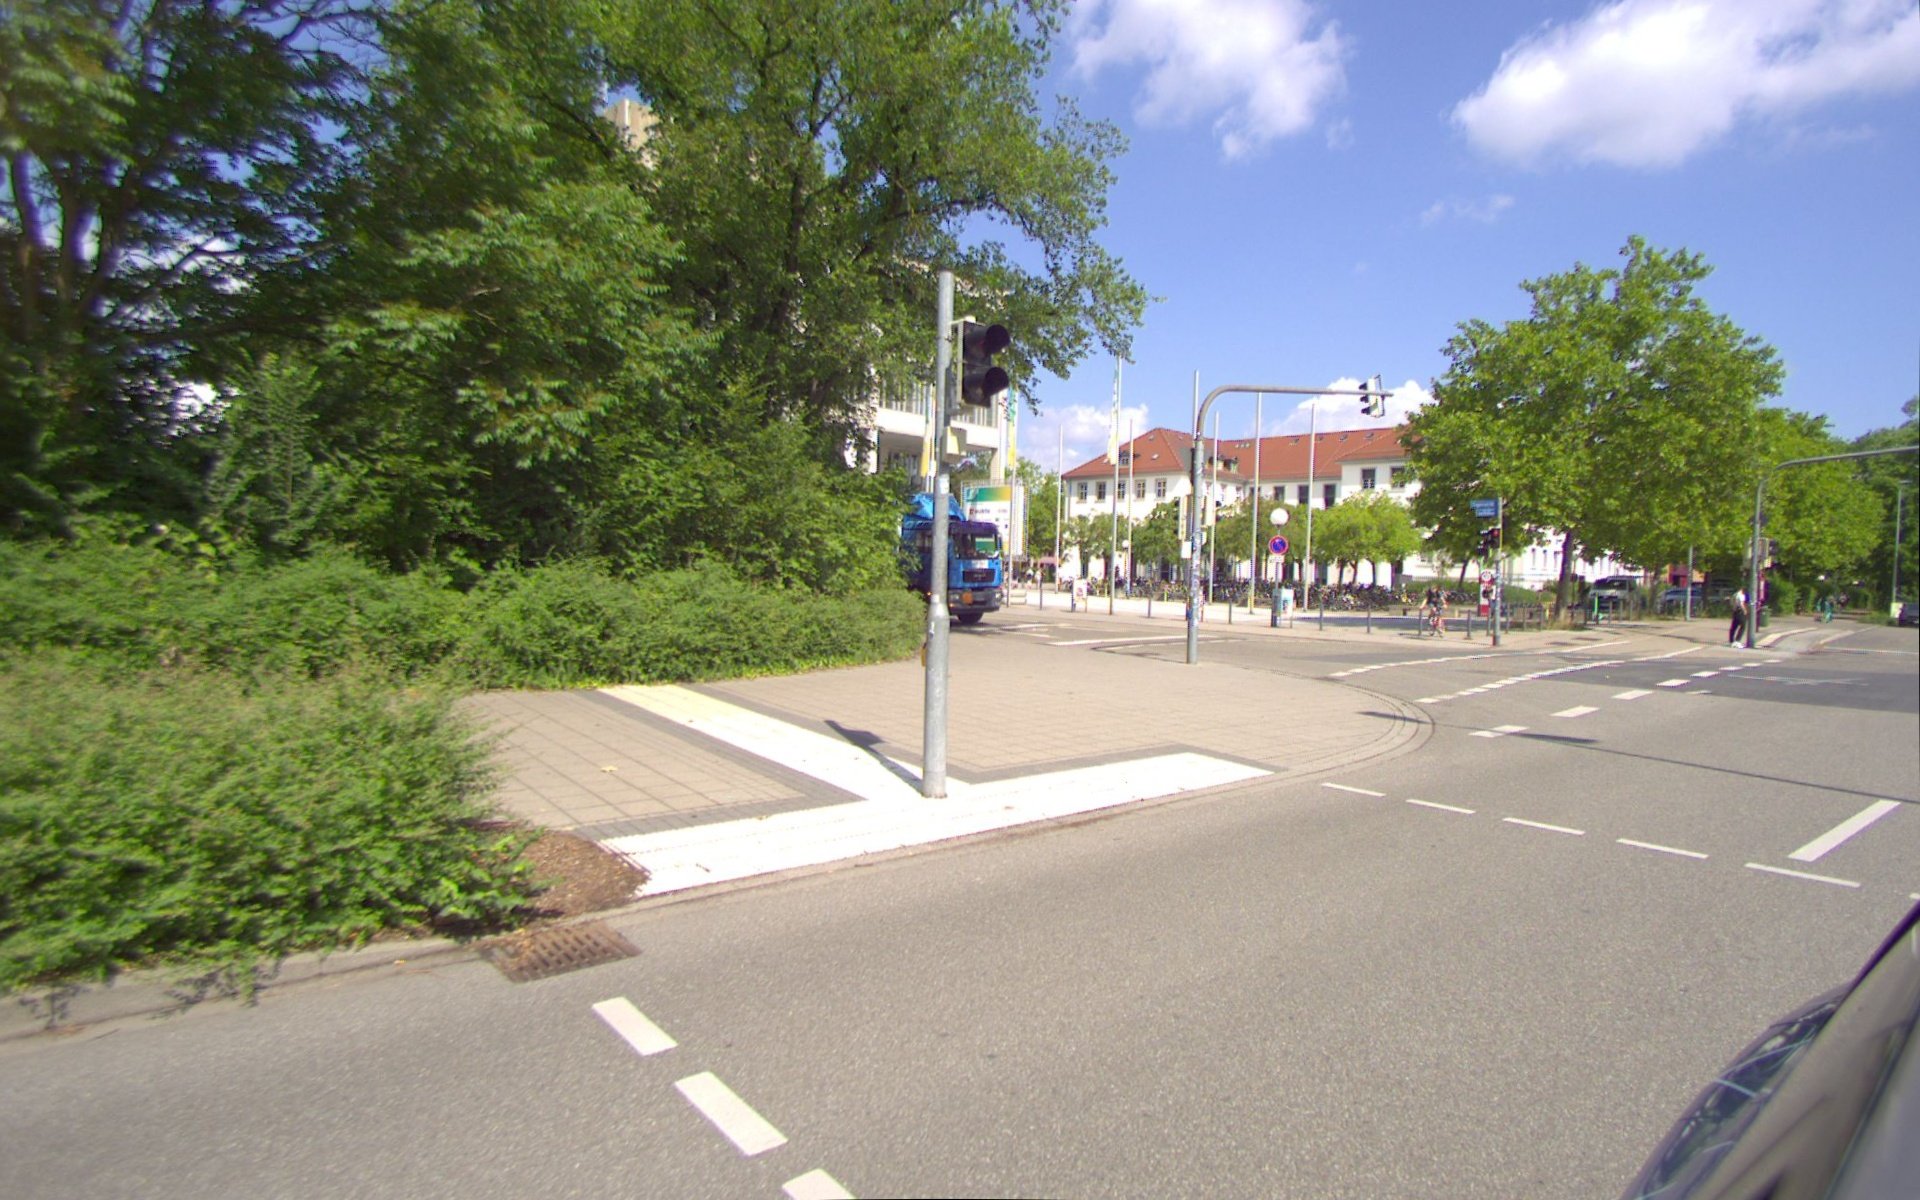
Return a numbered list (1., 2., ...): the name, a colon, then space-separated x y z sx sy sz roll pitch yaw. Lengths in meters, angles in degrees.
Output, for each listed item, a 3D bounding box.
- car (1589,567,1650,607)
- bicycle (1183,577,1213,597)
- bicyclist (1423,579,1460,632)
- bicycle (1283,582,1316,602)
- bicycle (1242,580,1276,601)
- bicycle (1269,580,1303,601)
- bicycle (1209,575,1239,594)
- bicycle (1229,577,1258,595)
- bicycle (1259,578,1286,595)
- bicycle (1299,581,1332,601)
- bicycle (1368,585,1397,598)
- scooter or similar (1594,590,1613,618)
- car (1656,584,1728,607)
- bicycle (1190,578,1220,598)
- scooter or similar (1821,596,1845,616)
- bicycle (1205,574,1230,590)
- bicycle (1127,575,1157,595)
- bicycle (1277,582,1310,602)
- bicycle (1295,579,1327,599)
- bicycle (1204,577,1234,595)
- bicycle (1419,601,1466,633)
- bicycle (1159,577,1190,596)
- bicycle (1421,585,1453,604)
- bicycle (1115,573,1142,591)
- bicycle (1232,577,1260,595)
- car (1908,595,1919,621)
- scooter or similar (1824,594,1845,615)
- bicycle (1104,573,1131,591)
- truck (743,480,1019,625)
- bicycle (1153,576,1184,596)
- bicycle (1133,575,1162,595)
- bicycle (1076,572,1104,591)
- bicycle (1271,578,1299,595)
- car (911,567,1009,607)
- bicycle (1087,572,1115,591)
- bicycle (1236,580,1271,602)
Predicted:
1. car: 35.960 -0.692 55.117 1.993 2.038 4.827 3 2 43
2. bicycle: 14.354 -0.793 61.133 1.667 1.110 0.617 3 2 42
3. bicyclist: 14.170 0.147 29.814 0.601 1.526 0.919 1 1 -1
4. bicycle: 19.366 -0.456 57.776 1.667 1.110 0.617 3 2 42
5. bicycle: 16.316 -0.539 55.323 1.667 1.110 0.617 3 2 42
6. bicycle: 18.184 -0.554 56.518 1.667 1.110 0.617 3 2 42
7. bicycle: 16.601 -0.987 63.641 1.667 1.110 0.617 3 2 42
8. bicycle: 18.456 -0.919 65.868 1.667 1.110 0.617 3 2 42
9. bicycle: 21.293 -0.943 68.949 1.667 1.110 0.617 3 2 42
10. bicycle: 20.959 -0.526 59.699 1.667 1.110 0.617 3 2 42
11. bicycle: 28.016 -0.544 67.155 1.667 0.800 0.617 3 2 42
12. scooter or similar: 26.358 0.156 41.461 1.148 1.142 0.347 0 1 -42
13. car: 51.544 -0.354 71.270 3.981 1.442 1.733 3 2 39
14. bicycle: 14.947 -0.733 61.639 1.667 1.110 0.617 3 2 42
15. scooter or similar: 48.653 0.326 56.411 1.342 1.084 0.519 1 1 -28
16. bicycle: 18.854 -1.329 74.042 1.667 1.110 0.617 3 2 42
17. bicycle: 10.802 -0.883 60.210 1.667 1.110 0.617 3 2 42
18. bicycle: 18.866 -0.454 57.243 1.667 1.110 0.617 3 2 42
19. bicycle: 20.456 -0.622 59.020 1.667 1.110 0.617 3 2 42
20. bicycle: 16.049 -0.877 62.784 1.667 1.110 0.617 3 2 42
21. bicycle: 14.167 0.494 29.764 0.608 0.843 1.516 1 2 -1
22. bicycle: 12.625 -0.802 59.641 1.667 1.110 0.617 3 2 42
23. bicycle: 29.774 -0.369 63.213 1.667 1.110 0.617 3 2 42
24. bicycle: 11.019 -1.164 66.072 1.667 1.110 0.617 3 2 42
25. bicycle: 18.819 -0.939 66.611 1.667 1.110 0.617 3 2 42
26. car: 53.877 0.478 56.172 1.705 1.345 3.937 6 4 43
27. scooter or similar: 47.039 0.248 54.449 1.413 1.091 0.519 1 1 -36
28. bicycle: 10.155 -1.144 65.321 1.667 1.110 0.617 3 2 42
29. truck: -2.865 -1.582 32.054 10.114 3.928 2.735 4 4 44
30. bicycle: 12.169 -0.845 59.047 1.667 1.110 0.617 3 2 42
31. bicycle: 11.251 -0.913 60.734 1.667 1.110 0.617 3 2 42
32. bicycle: 8.040 -1.129 62.765 1.667 1.110 0.617 3 2 42
33. bicycle: 22.412 -0.940 69.783 1.667 1.110 0.617 3 2 42
34. car: -0.040 -0.578 41.947 3.987 1.497 1.696 3 4 44
35. bicycle: 8.926 -1.165 63.902 1.667 1.110 0.617 3 2 42
36. bicycle: 15.904 -0.496 54.841 1.667 1.110 0.617 3 2 42
